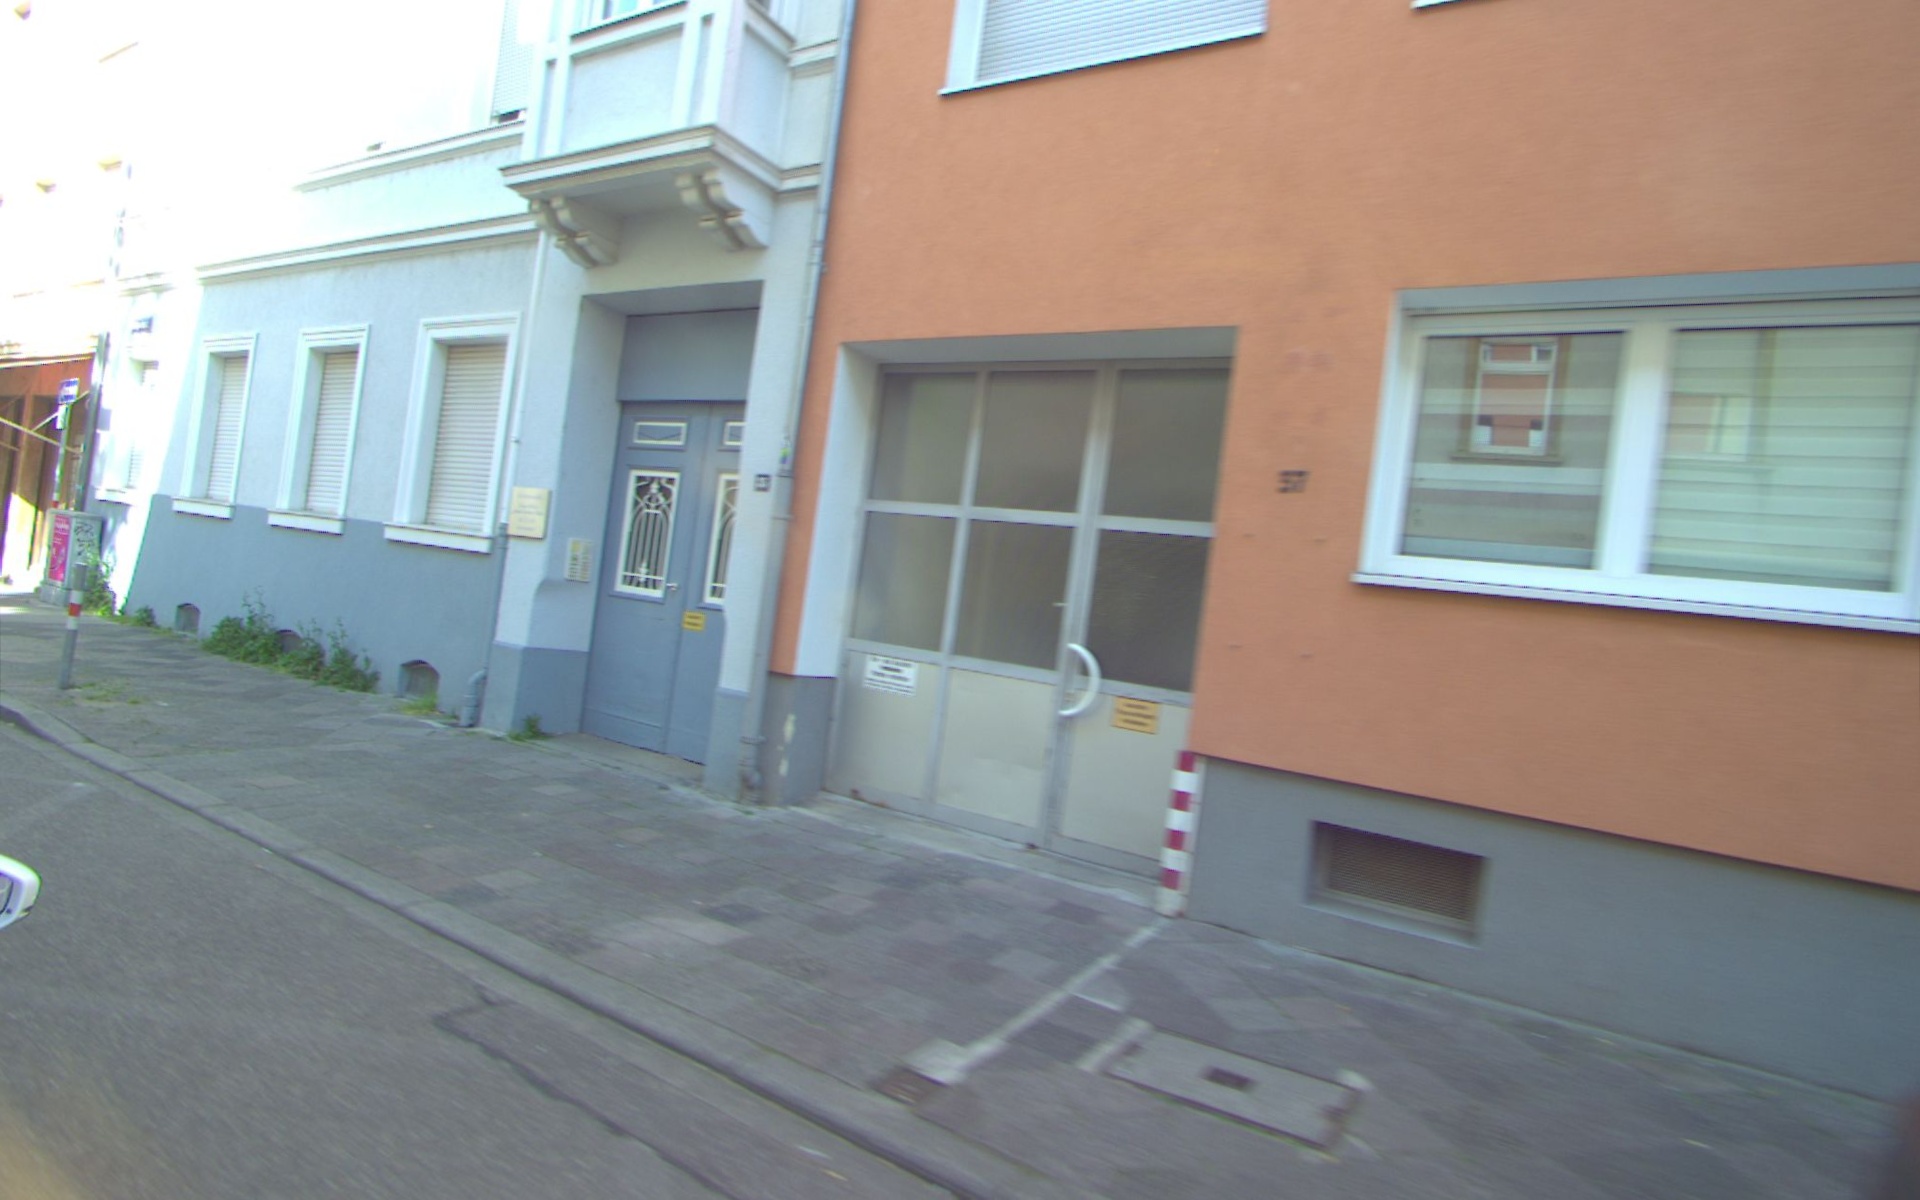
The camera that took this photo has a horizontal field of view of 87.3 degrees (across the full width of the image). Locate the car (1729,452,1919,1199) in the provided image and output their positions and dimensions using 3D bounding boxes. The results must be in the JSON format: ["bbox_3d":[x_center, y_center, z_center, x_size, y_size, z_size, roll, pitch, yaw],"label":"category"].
[{"bbox_3d":[3.453,0.989,0.294,4.817,2.051,1.975,7,-2,31],"label":"car"}]
